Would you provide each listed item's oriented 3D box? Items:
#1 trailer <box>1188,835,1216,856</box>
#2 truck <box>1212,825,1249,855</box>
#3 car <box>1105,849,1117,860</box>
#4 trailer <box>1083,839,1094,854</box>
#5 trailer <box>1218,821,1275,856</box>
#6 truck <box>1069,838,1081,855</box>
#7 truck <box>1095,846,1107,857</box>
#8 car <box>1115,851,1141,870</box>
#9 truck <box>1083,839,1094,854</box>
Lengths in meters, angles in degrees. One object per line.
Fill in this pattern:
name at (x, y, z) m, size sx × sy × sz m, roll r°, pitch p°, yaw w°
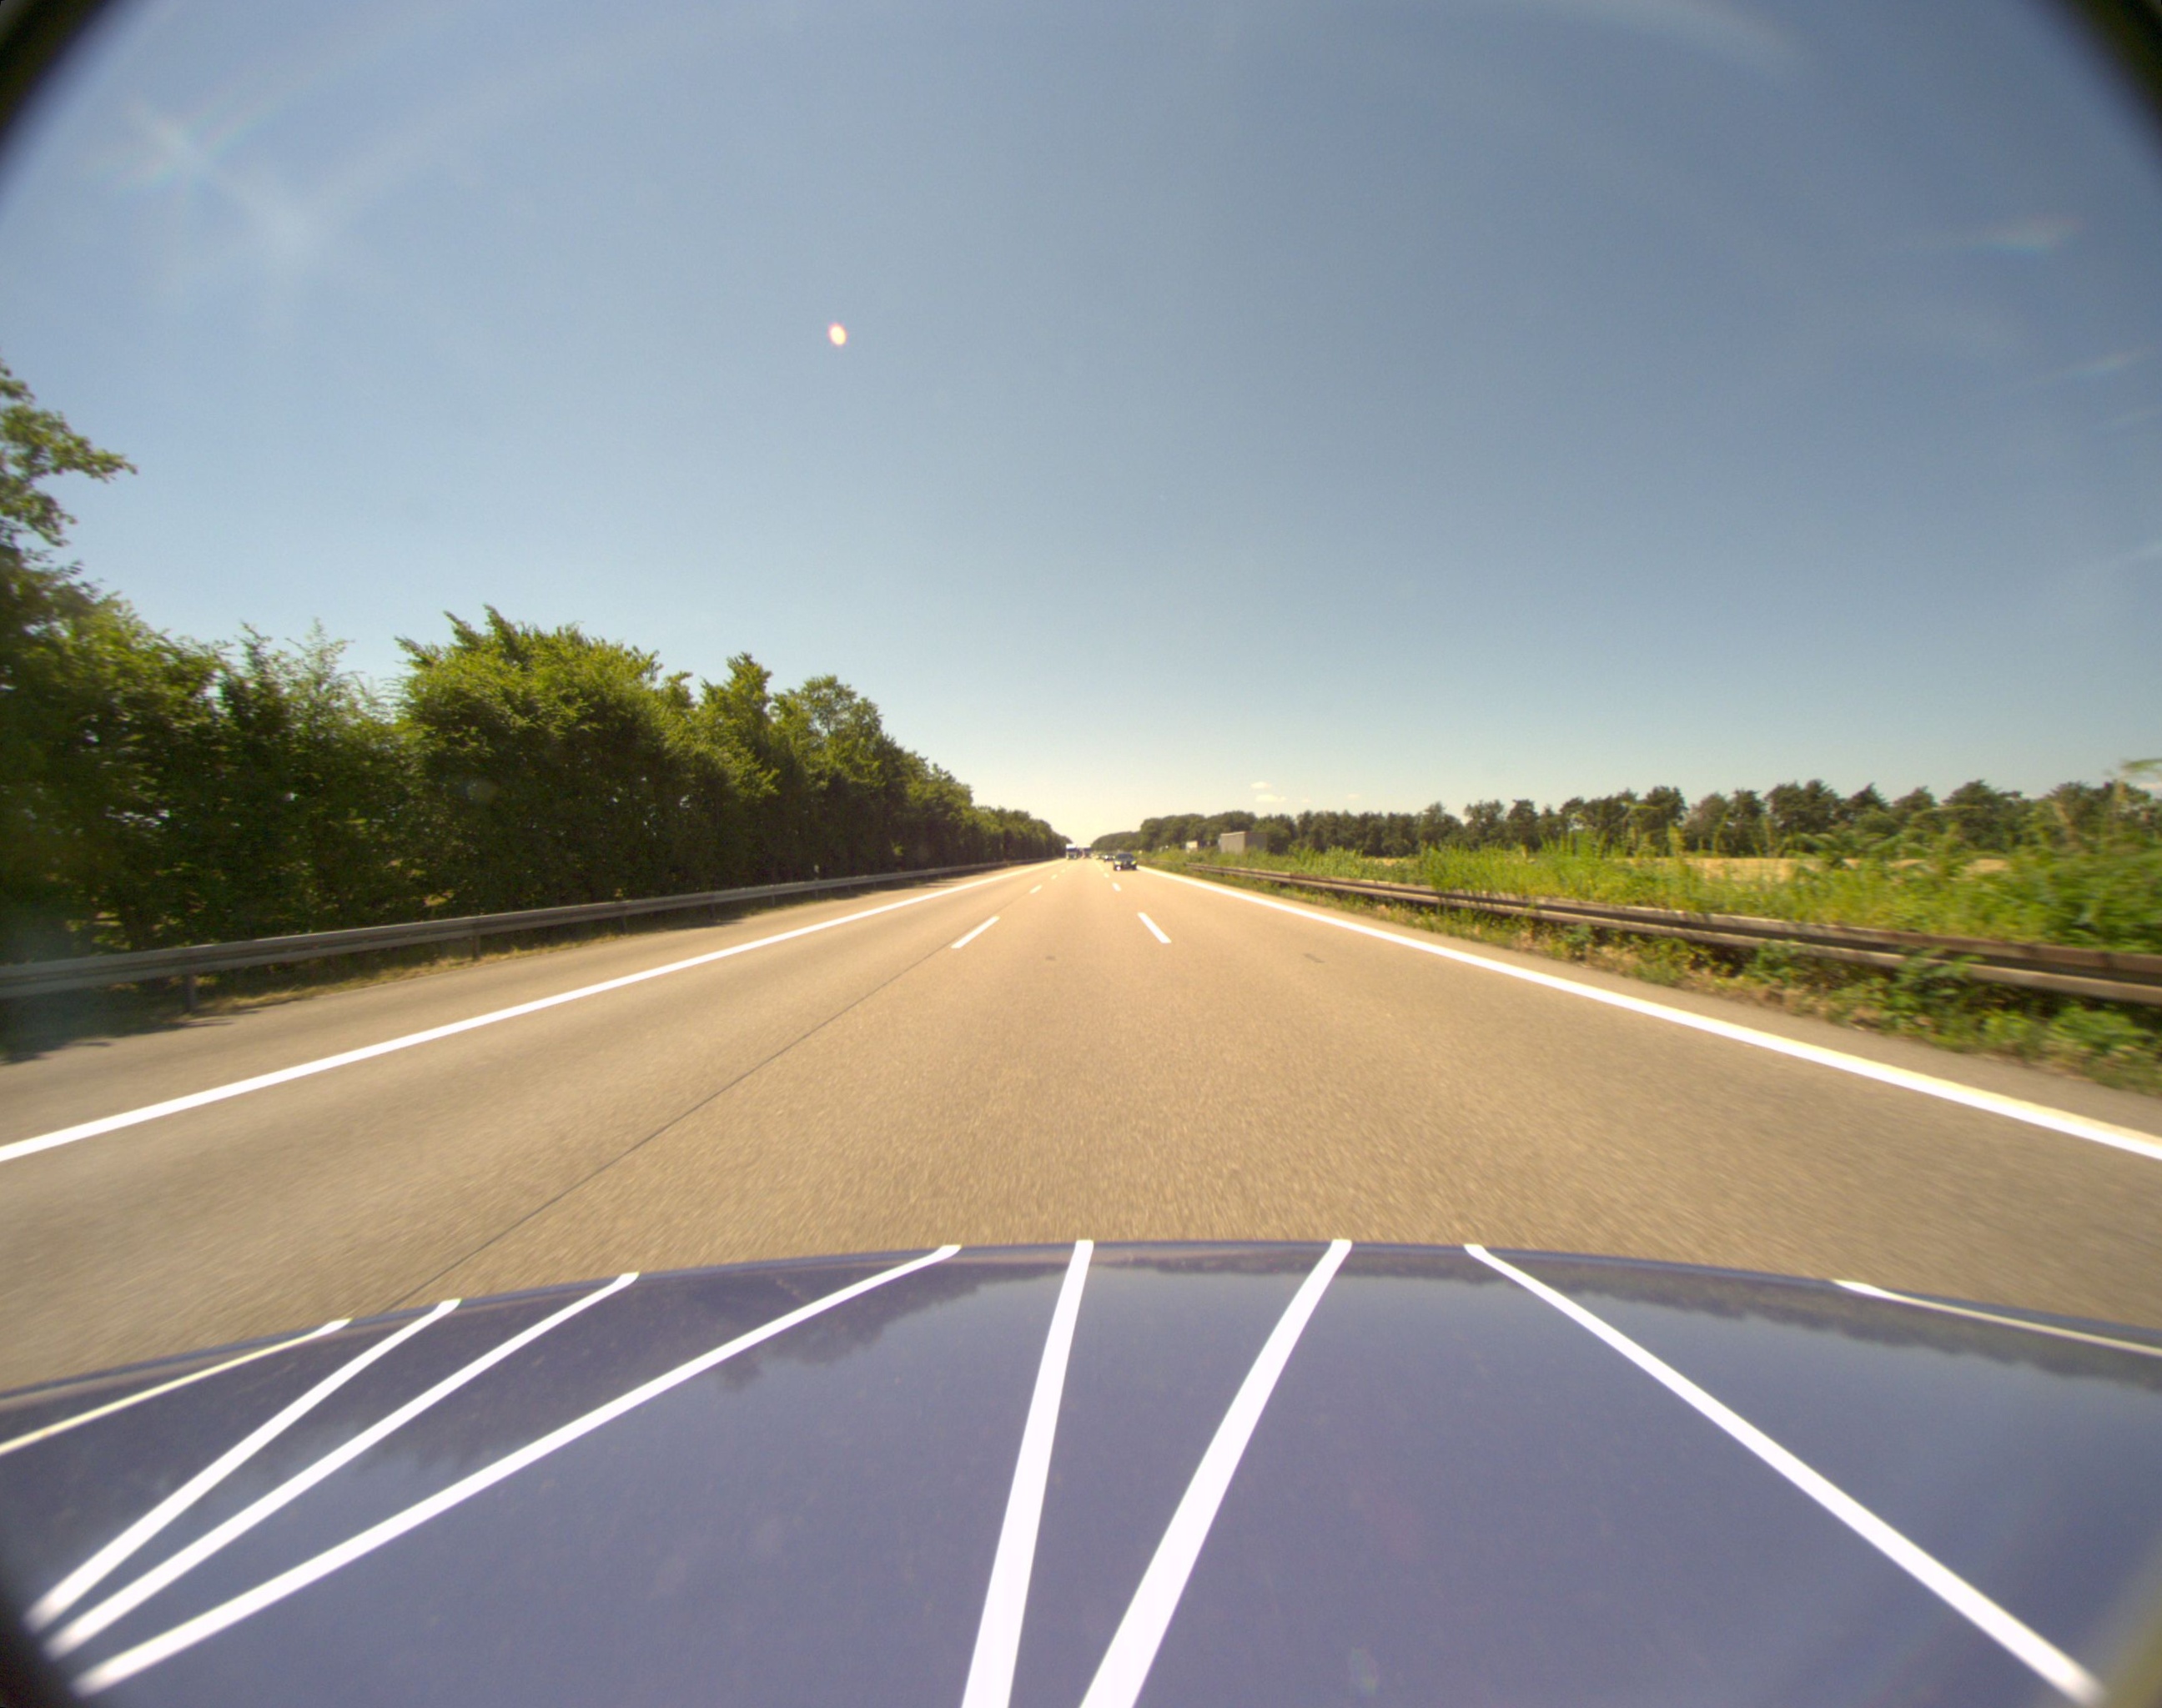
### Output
trailer at (22.848, -1.589, 144.217) m, size 3.117 × 3.677 × 14.382 m, roll -2°, pitch 0°, yaw 1°
truck at (19.541, -1.757, 99.628) m, size 3.358 × 3.677 × 6.063 m, roll -2°, pitch 0°, yaw -1°
car at (4.812, 0.091, 123.138) m, size 1.806 × 1.774 × 4.000 m, roll -1°, pitch 1°, yaw 1°
trailer at (2.200, -2.245, 230.279) m, size 2.863 × 4.247 × 11.471 m, roll -2°, pitch 0°, yaw 0°
trailer at (19.665, -1.731, 91.445) m, size 3.358 × 3.677 × 14.380 m, roll -2°, pitch 0°, yaw -1°
truck at (-1.649, -1.893, 200.622) m, size 2.863 × 4.247 × 6.863 m, roll -2°, pitch 0°, yaw -1°
truck at (4.759, -0.615, 178.642) m, size 2.576 × 2.461 × 5.614 m, roll -2°, pitch 0°, yaw 0°
car at (3.906, 0.515, 63.368) m, size 1.811 × 1.399 × 3.999 m, roll -3°, pitch 1°, yaw -1°
truck at (2.169, -2.219, 223.818) m, size 2.863 × 4.247 × 5.411 m, roll -2°, pitch 0°, yaw 0°
